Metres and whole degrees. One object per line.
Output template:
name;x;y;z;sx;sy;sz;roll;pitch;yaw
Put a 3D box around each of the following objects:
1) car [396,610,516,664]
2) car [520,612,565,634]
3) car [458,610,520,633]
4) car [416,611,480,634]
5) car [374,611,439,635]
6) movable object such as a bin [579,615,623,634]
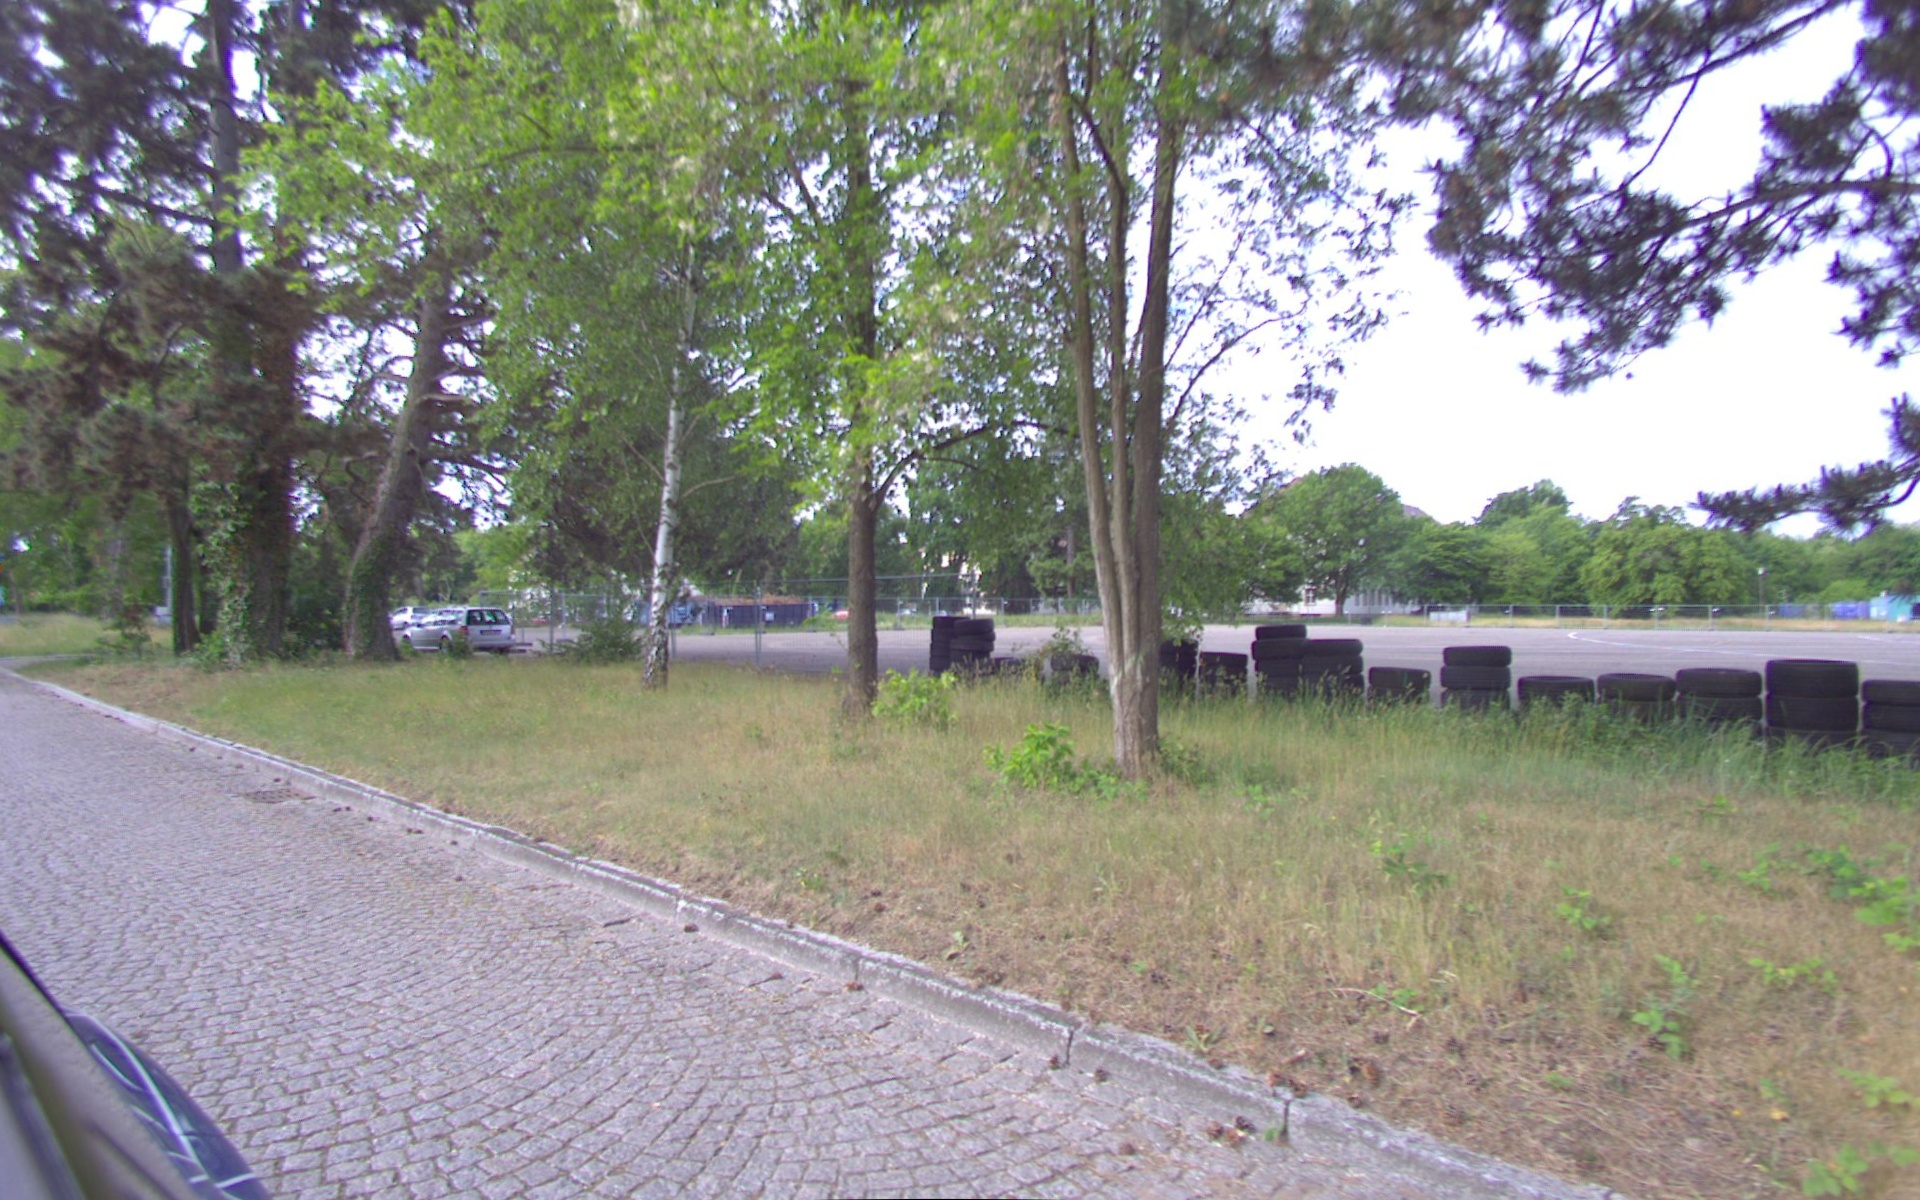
car;-14.262;0.997;28.573;3.720;1.421;1.649;-1;-1;39
car;-33.422;1.800;81.012;3.797;1.696;1.592;-1;-1;36
car;-31.542;1.430;67.695;4.447;1.460;1.974;-1;-1;38
car;-33.007;1.428;65.192;4.447;1.460;1.974;-1;-1;38
car;-34.600;1.425;63.197;4.447;1.460;1.974;-1;-1;38
movable object such as a bin;-21.302;1.432;59.966;2.713;1.079;1.046;-1;-1;33
